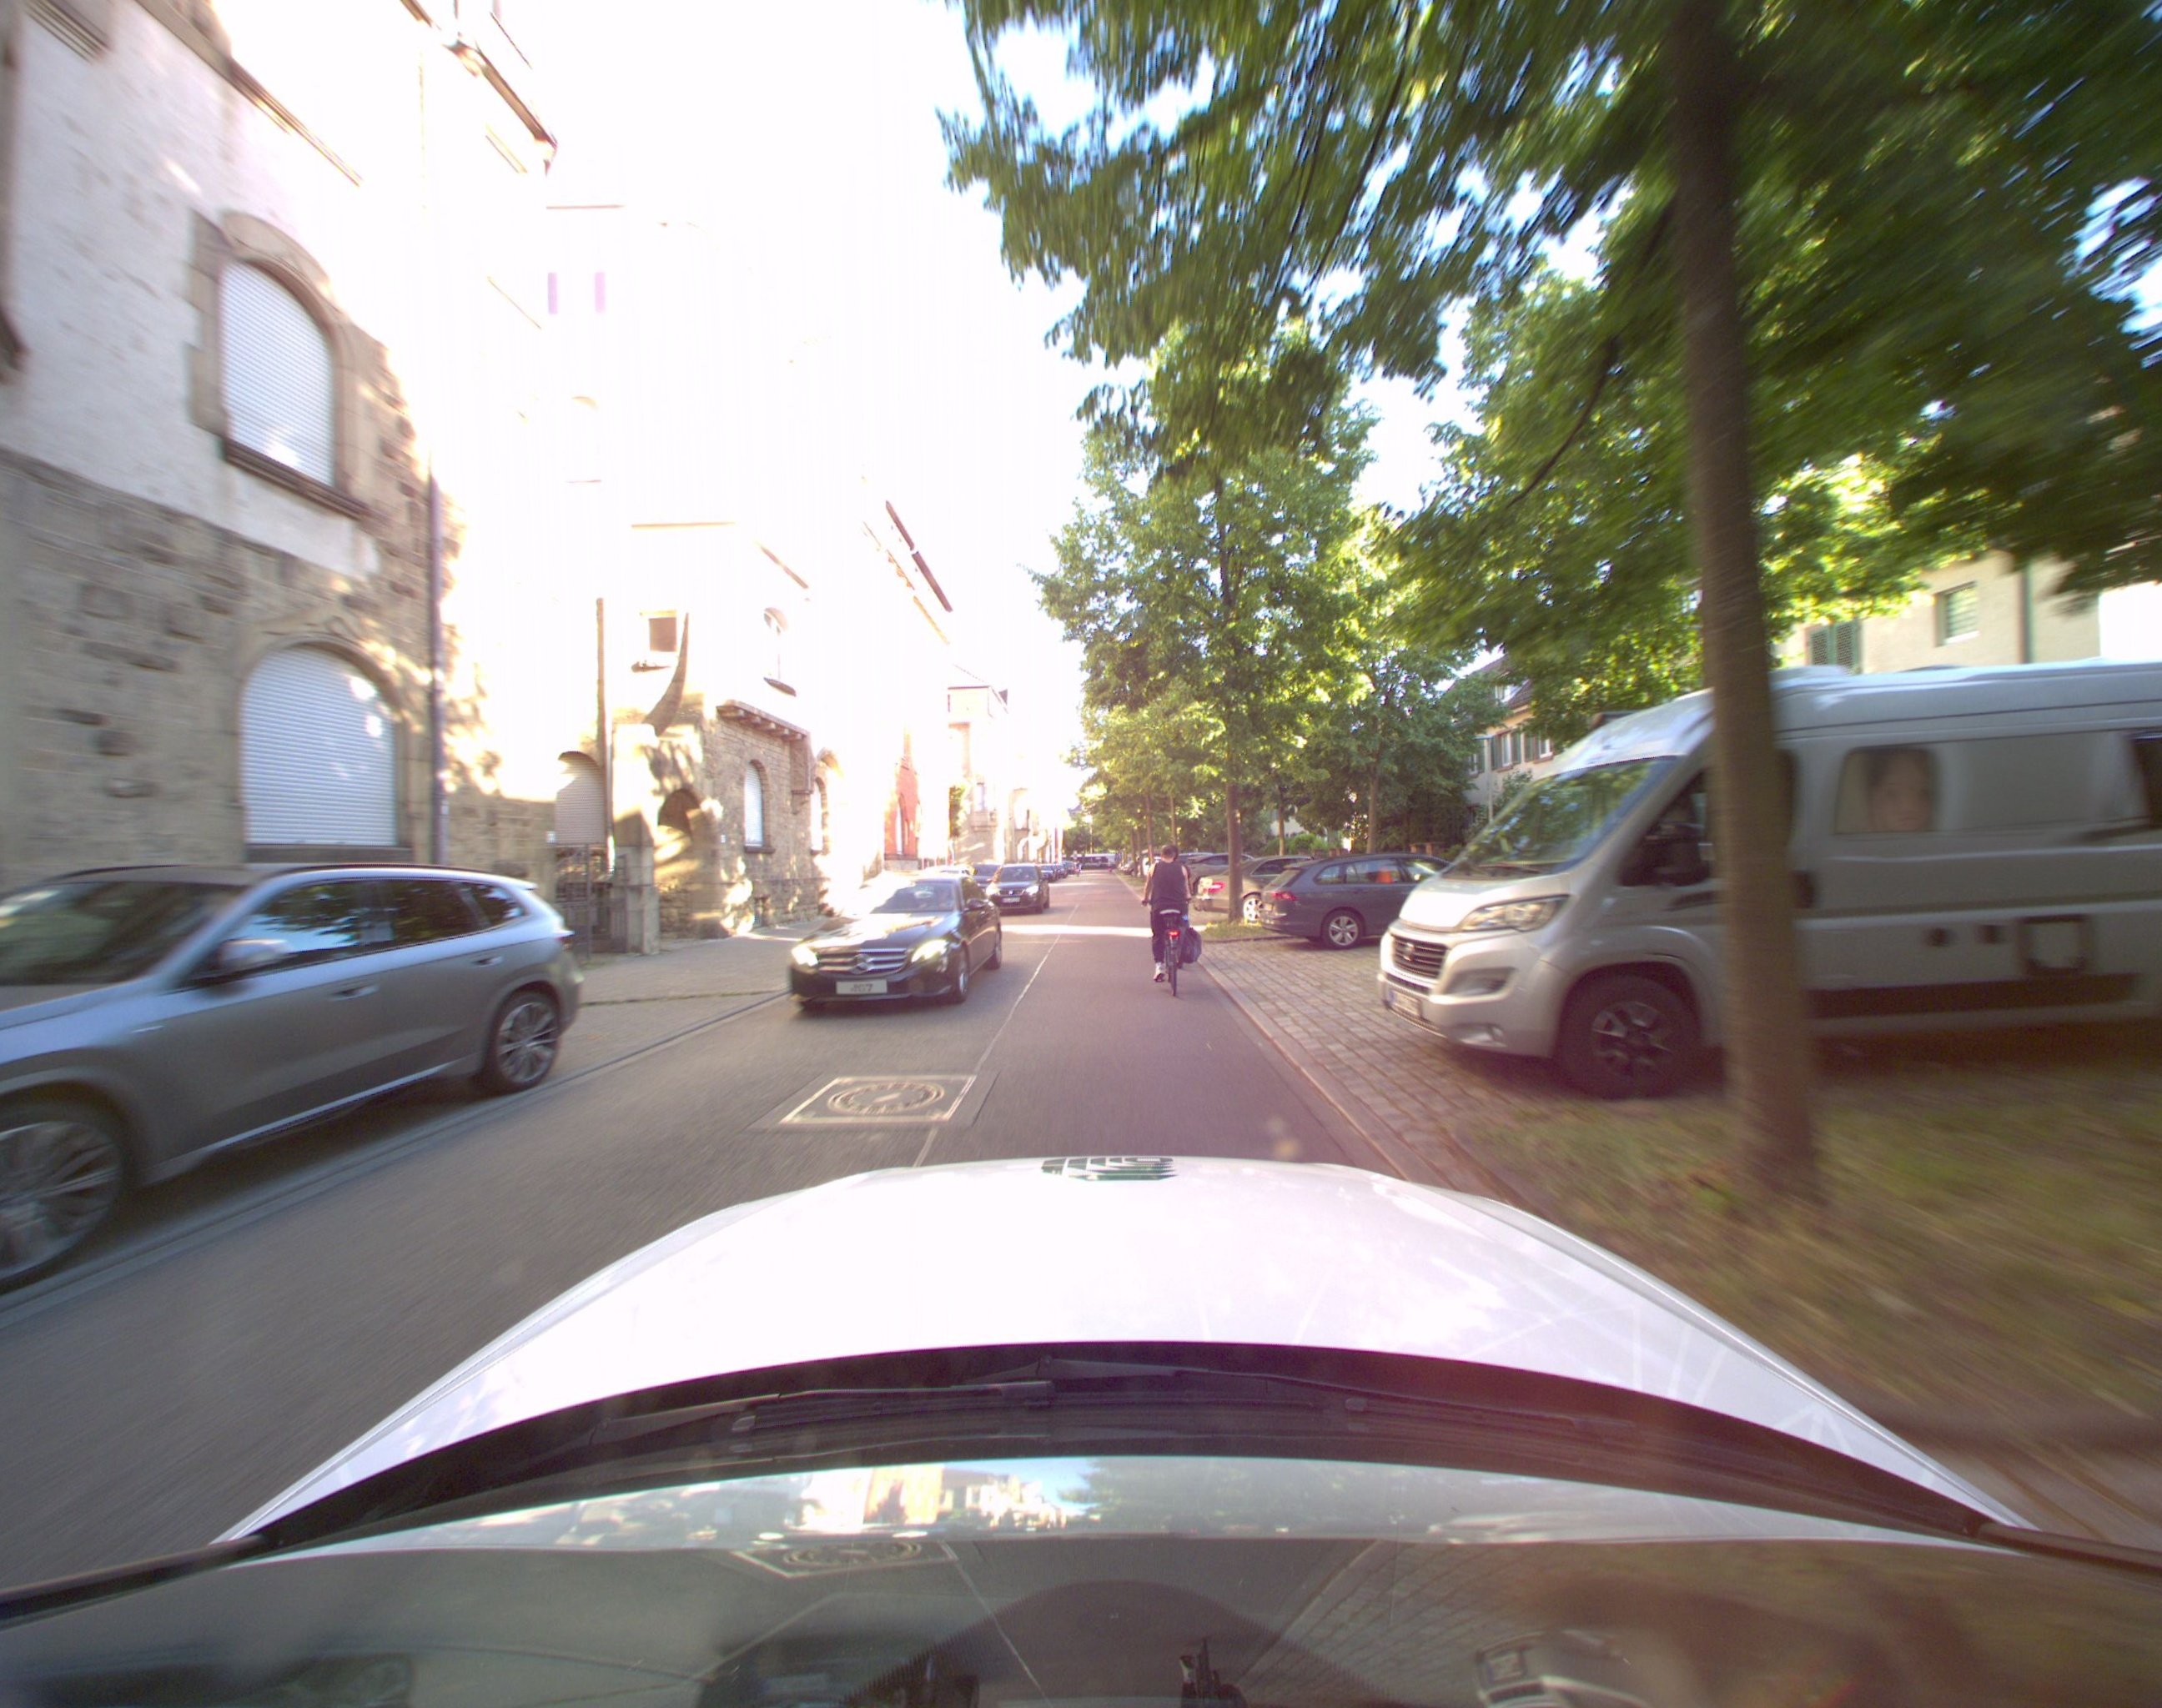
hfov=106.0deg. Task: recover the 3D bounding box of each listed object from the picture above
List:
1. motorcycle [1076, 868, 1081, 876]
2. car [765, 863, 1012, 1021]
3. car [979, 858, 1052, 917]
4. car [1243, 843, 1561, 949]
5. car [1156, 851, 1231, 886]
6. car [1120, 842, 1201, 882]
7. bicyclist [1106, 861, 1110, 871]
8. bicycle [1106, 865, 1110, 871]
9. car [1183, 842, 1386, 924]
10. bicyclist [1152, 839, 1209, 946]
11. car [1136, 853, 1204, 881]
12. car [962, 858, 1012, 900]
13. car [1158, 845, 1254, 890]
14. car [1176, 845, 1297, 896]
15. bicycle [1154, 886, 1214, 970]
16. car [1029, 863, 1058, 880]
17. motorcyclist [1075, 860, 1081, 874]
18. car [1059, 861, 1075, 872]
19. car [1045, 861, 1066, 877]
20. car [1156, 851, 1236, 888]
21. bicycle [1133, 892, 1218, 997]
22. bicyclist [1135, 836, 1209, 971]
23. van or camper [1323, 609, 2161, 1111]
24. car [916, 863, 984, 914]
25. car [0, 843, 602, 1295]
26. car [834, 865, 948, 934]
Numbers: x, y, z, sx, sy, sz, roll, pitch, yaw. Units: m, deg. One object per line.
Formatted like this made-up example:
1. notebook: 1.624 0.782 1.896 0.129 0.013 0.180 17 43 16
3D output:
1. motorcycle: -0.277 1.898 84.718 0.549 0.801 1.307 -2 -1 -1
2. car: -2.119 0.939 10.339 1.889 1.486 4.383 -3 -2 2
3. car: -1.974 1.009 25.672 1.760 1.599 4.091 -4 -1 1
4. car: 5.095 0.667 13.424 4.484 1.453 1.817 -2 -1 2
5. car: 6.681 0.883 48.769 4.226 1.797 1.856 -3 -2 2
6. car: 7.324 0.787 75.602 7.304 3.282 2.224 -3 -2 2
7. bicyclist: 3.740 1.599 112.191 0.415 1.350 0.430 -2 -2 1
8. bicycle: 3.749 1.929 112.208 0.539 0.828 1.919 -1 -2 2
9. car: 4.638 0.663 18.998 4.232 1.606 1.752 -3 -2 -2
10. bicyclist: 1.488 0.570 12.325 0.716 1.527 0.972 -2 -2 1
11. car: 6.424 0.936 59.080 4.738 1.780 1.855 -3 -2 2
12. car: -4.045 1.075 35.409 1.625 1.665 3.968 -2 -2 0
13. car: 5.802 0.643 38.280 4.226 1.840 1.856 -3 -2 2
14. car: 5.813 0.642 30.865 4.226 1.647 1.856 -3 -2 2
15. bicycle: 1.493 1.043 12.069 0.554 1.073 1.967 -2 -1 -2
16. car: -3.029 1.465 66.674 1.964 1.320 4.001 -2 -2 2
17. motorcyclist: -0.355 1.309 84.644 0.549 1.448 0.688 -2 -1 -1
18. car: -1.976 1.779 115.452 1.986 1.530 4.001 -2 -2 2
19. car: -2.695 1.603 86.327 1.986 1.530 4.001 -2 -2 2
20. car: 6.476 0.890 46.185 4.226 1.797 1.856 -3 -2 2
21. bicycle: 1.088 1.026 9.832 0.694 1.073 1.966 -2 -2 -2
22. bicyclist: 1.077 0.579 9.821 0.704 1.527 0.971 -2 -2 -3
23. van or camper: 4.890 -0.007 5.712 5.557 2.537 2.267 -4 -2 -1
24. car: -4.236 1.093 26.876 1.485 1.517 3.776 2 -1 2
25. car: -4.927 0.842 4.424 2.043 1.622 4.393 -2 -2 0
26. car: -4.700 1.077 20.763 1.748 1.517 4.115 2 -1 2
